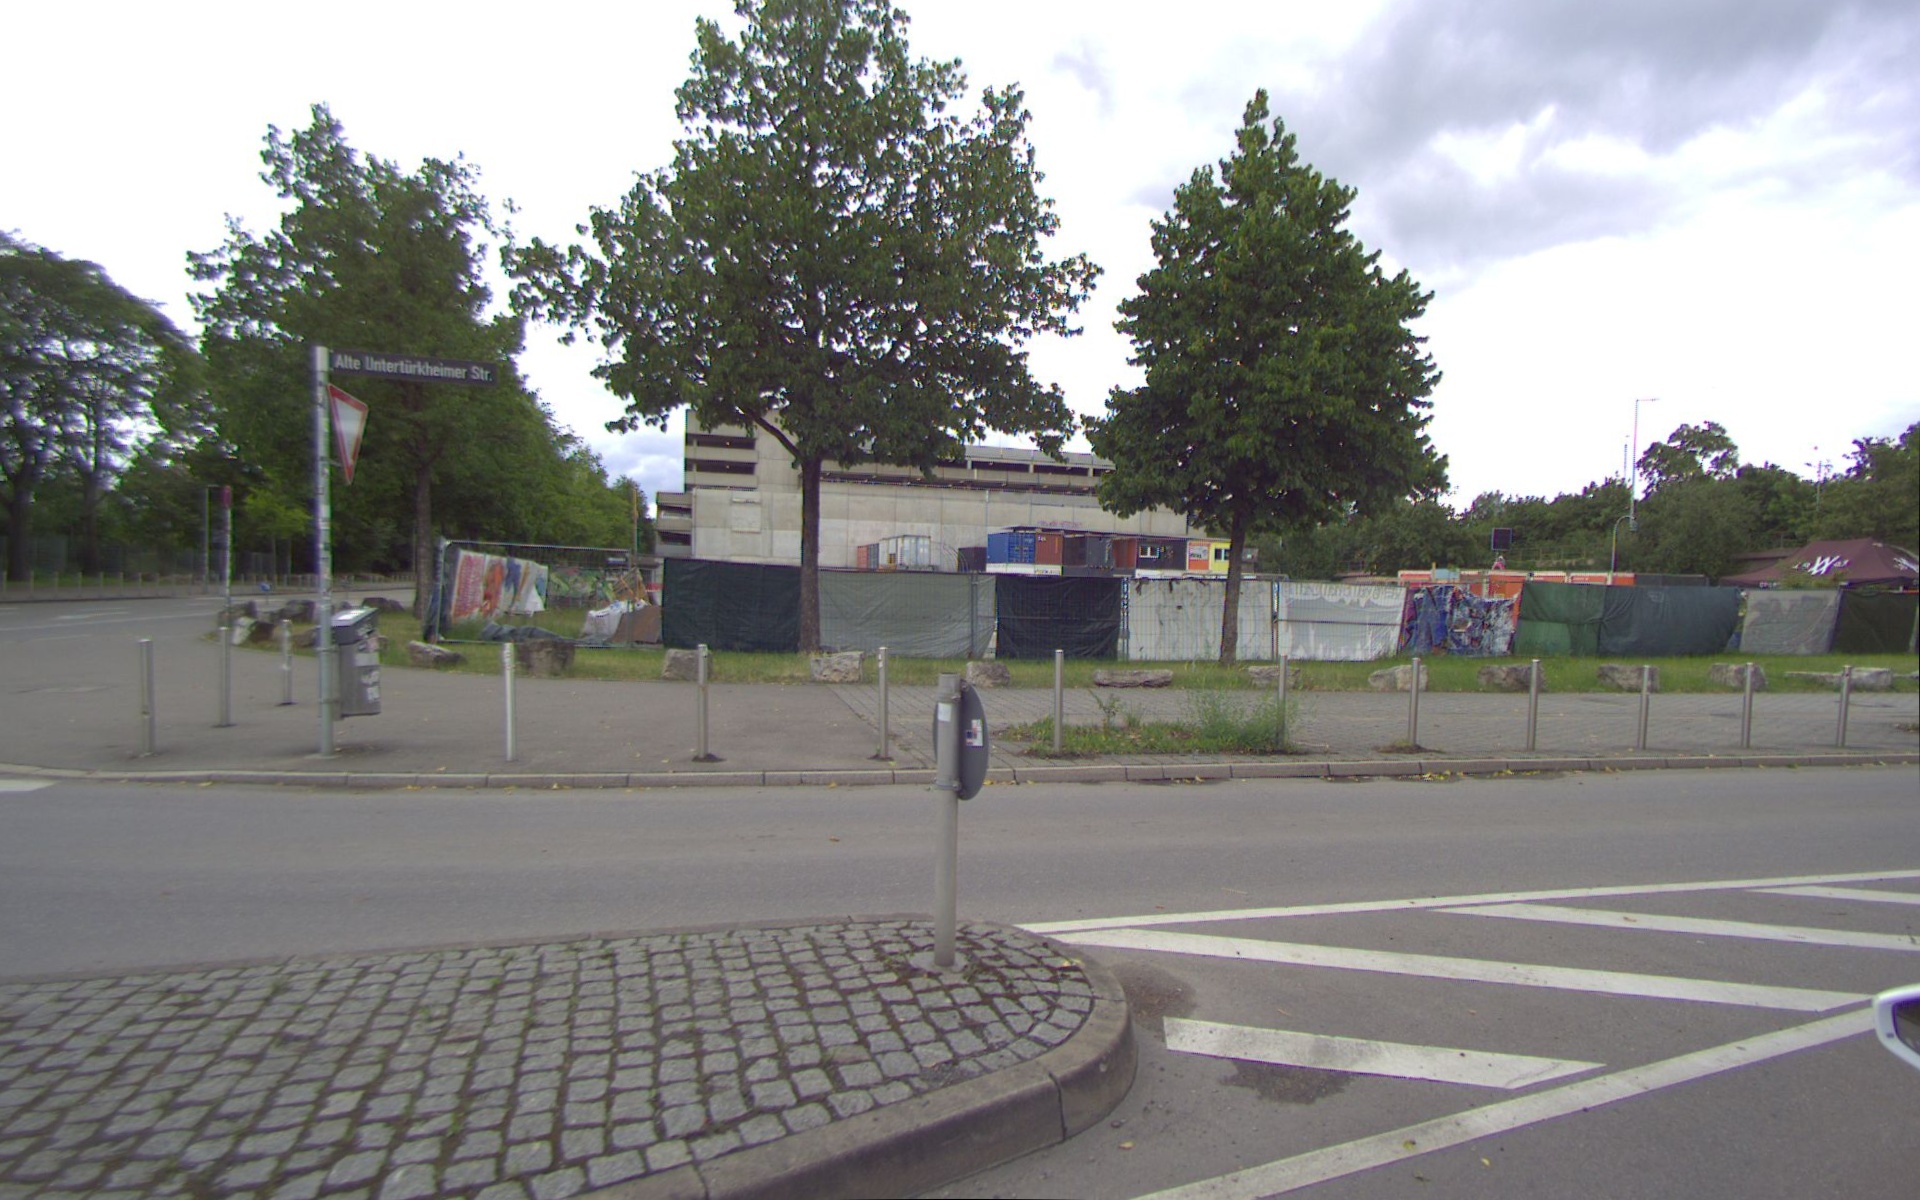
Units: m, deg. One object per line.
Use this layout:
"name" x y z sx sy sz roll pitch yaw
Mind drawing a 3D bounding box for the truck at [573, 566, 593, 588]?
"truck" -64.328 -3.912 171.578 2.638 3.606 7.894 -2 1 -17
